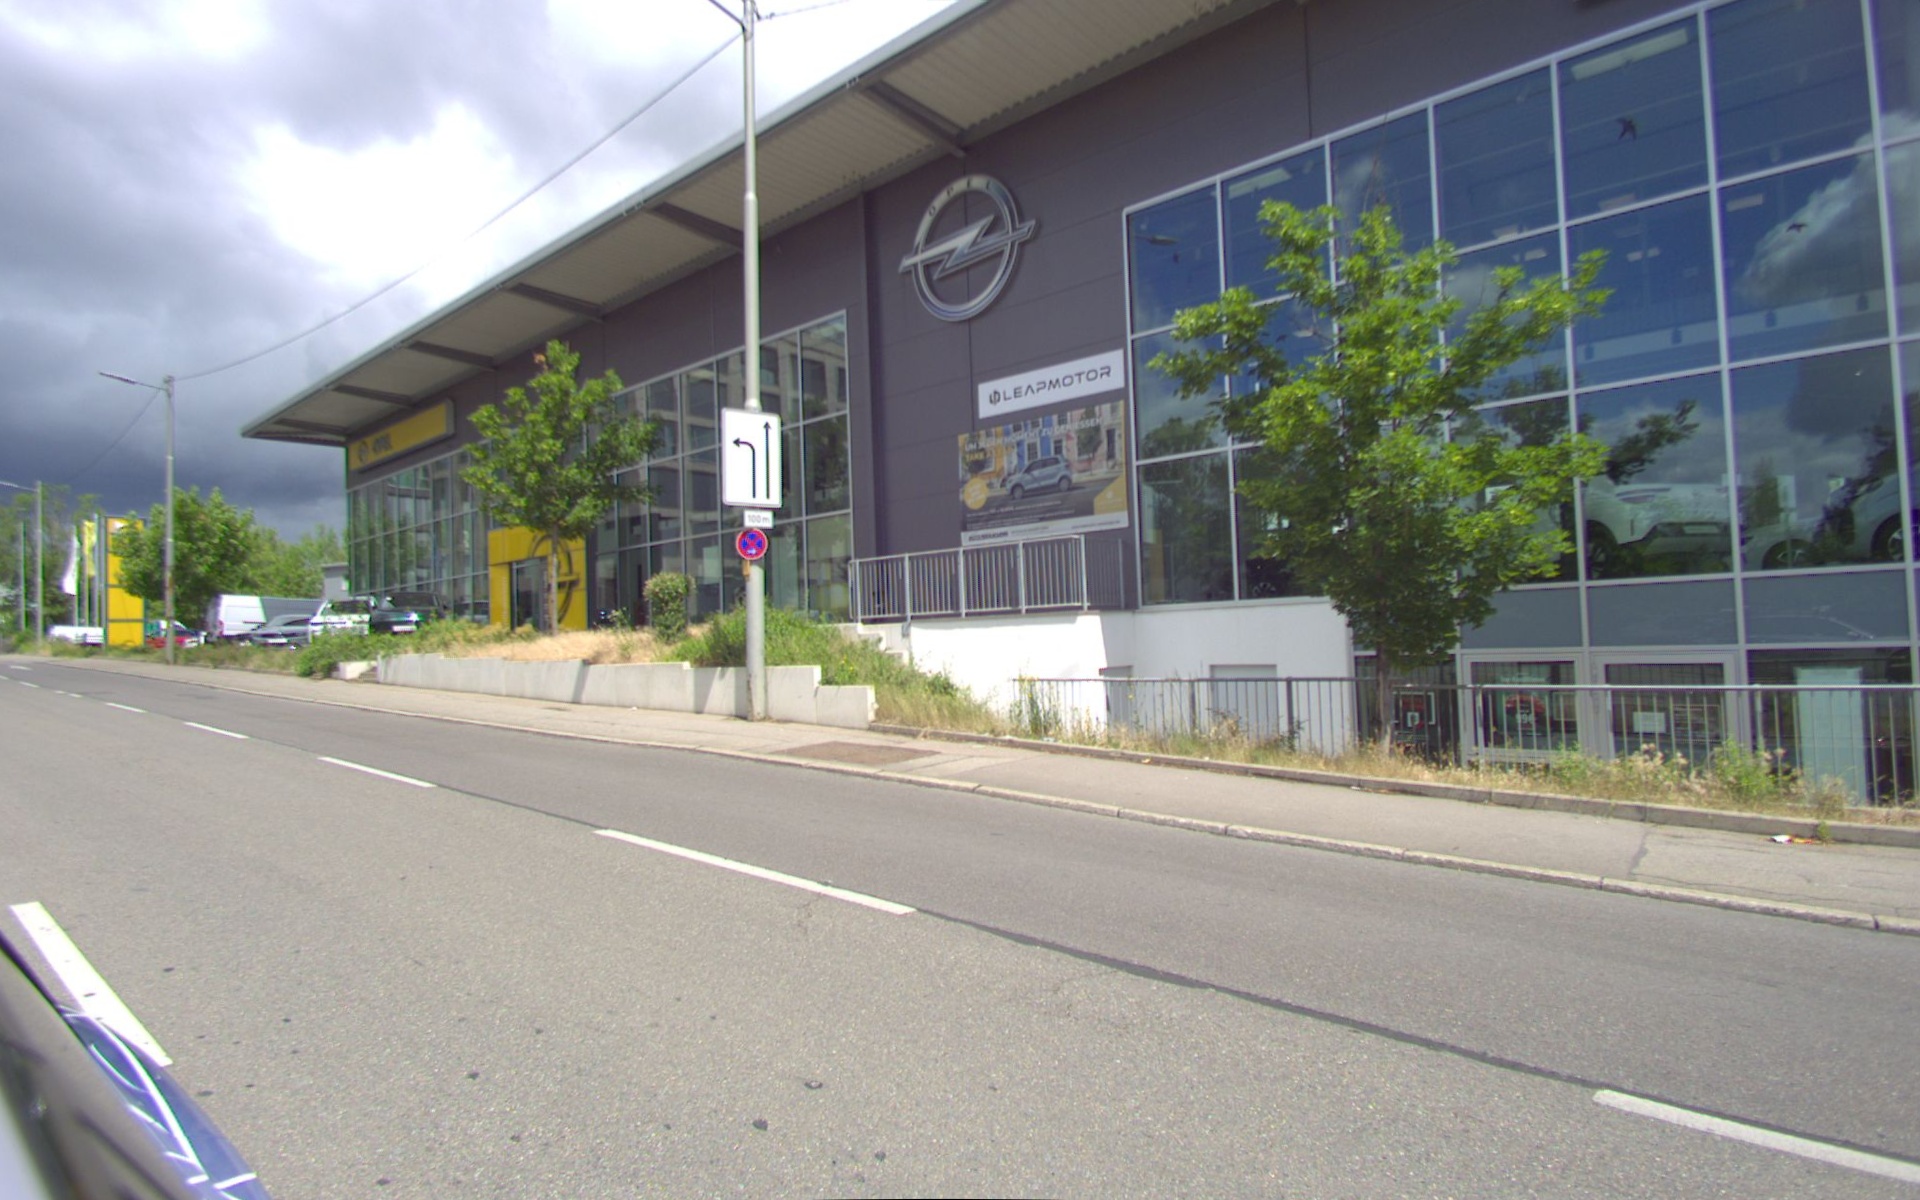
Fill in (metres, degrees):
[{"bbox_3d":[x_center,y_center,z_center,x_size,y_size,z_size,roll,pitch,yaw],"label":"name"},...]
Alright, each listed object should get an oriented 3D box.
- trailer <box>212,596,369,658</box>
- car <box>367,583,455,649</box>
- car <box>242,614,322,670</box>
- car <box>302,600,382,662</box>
[{"bbox_3d":[-27.424,1.088,41.614,1.998,2.367,5.011,-1,-2,39],"label":"trailer"},{"bbox_3d":[-15.686,0.472,28.810,1.966,1.741,4.011,1,-2,-31],"label":"car"},{"bbox_3d":[-23.477,1.408,35.160,1.966,1.807,4.012,1,-1,-29],"label":"car"},{"bbox_3d":[-19.212,0.949,31.598,1.966,1.807,4.012,1,-2,-29],"label":"car"}]
